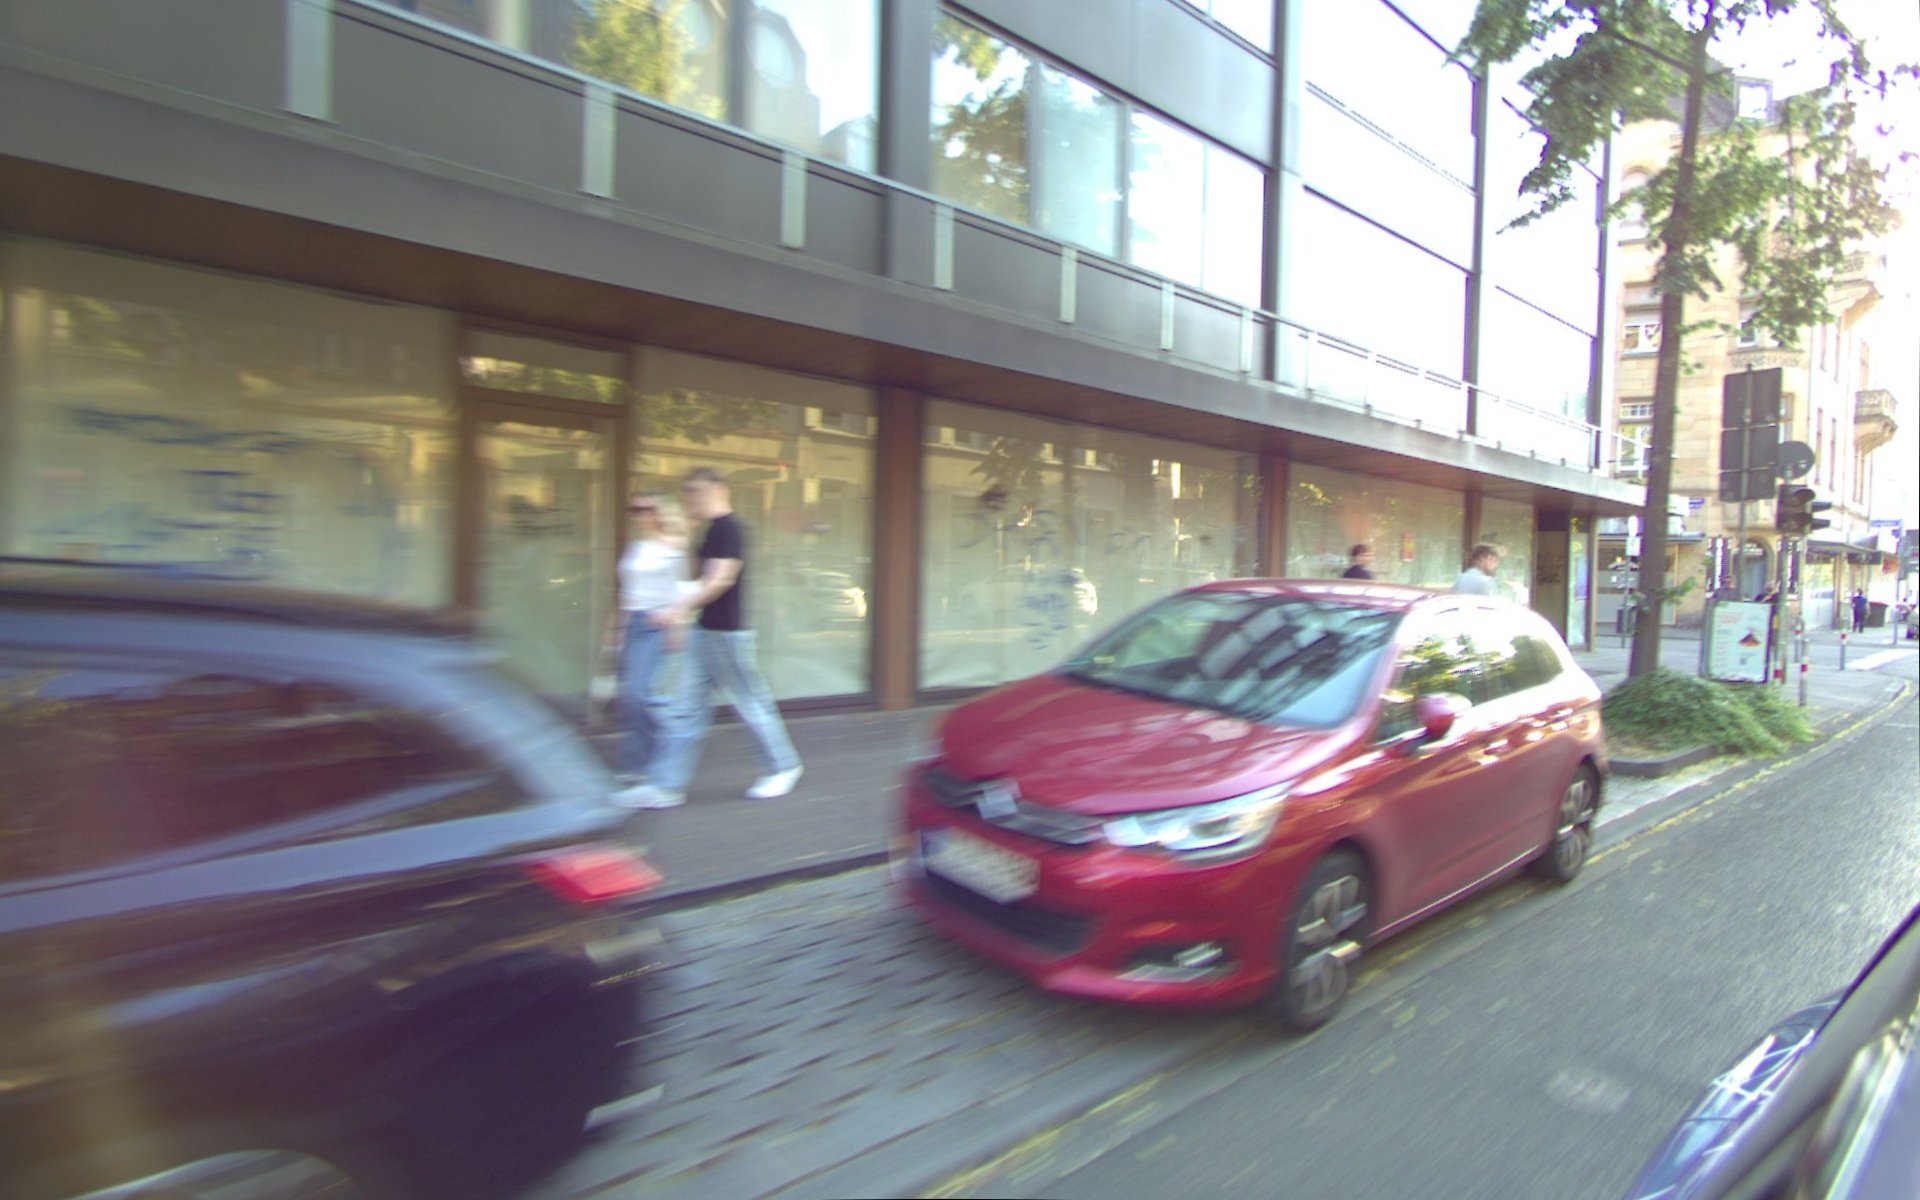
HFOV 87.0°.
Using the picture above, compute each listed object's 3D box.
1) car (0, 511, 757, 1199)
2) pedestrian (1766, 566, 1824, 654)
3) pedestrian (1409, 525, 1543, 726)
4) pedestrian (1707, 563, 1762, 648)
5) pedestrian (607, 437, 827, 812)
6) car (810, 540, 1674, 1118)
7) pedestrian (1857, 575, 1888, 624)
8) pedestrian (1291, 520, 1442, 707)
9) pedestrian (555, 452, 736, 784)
[{"bbox_3d":[-2.652,0.586,1.353,4.341,1.488,1.778,0,4,-41],"label":"car"},{"bbox_3d":[17.391,0.192,21.081,0.798,1.780,0.756,0,2,-41],"label":"pedestrian"},{"bbox_3d":[4.979,0.214,9.768,0.854,1.806,0.732,0,6,-40],"label":"pedestrian"},{"bbox_3d":[16.837,0.102,21.989,0.798,1.780,0.756,0,2,-41],"label":"pedestrian"},{"bbox_3d":[-1.353,0.103,5.644,0.959,1.890,0.627,0,4,-41],"label":"pedestrian"},{"bbox_3d":[1.737,0.575,4.917,4.670,1.510,1.726,0,4,-42],"label":"car"},{"bbox_3d":[32.132,-0.020,35.624,0.591,1.682,0.600,0,3,-35],"label":"pedestrian"},{"bbox_3d":[4.259,0.104,10.640,0.928,1.806,1.049,0,5,-40],"label":"pedestrian"},{"bbox_3d":[-1.882,0.078,6.051,0.821,1.831,0.590,0,4,-41],"label":"pedestrian"}]
